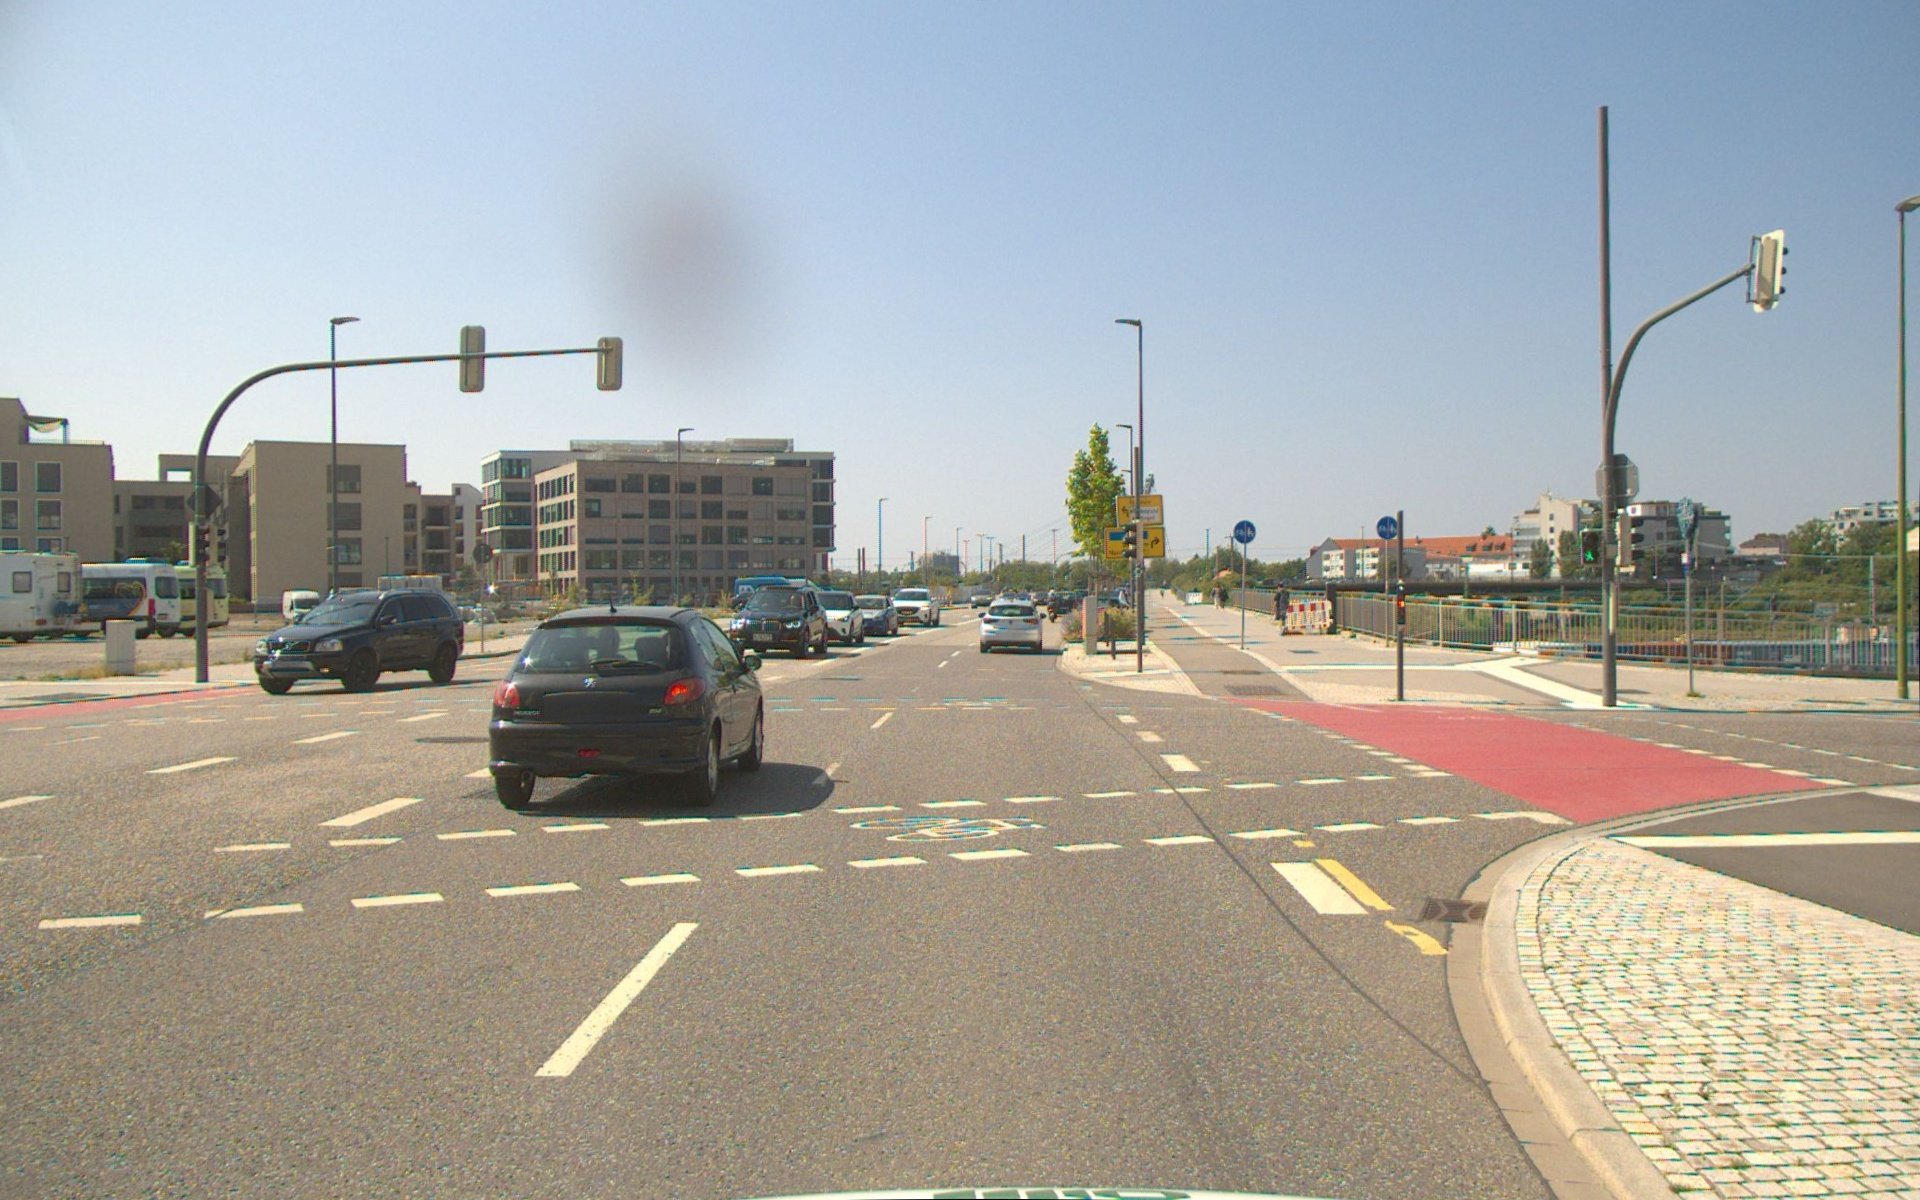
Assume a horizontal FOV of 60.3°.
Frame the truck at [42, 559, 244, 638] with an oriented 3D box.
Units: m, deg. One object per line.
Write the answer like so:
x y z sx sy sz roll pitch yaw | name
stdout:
-31.142 -0.070 63.170 6.495 2.875 2.604 1 0 5 | truck

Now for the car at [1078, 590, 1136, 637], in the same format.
5.178 0.440 58.202 1.951 1.545 4.003 0 1 6 | car

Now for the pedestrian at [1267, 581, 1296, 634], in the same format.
10.277 0.224 52.874 0.735 1.637 0.950 -3 0 5 | pedestrian

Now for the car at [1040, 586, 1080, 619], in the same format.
5.139 0.154 84.717 1.740 1.596 4.003 1 -1 7 | car

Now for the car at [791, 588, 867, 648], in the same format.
-4.026 0.519 51.459 1.741 1.711 4.101 -2 1 3 | car

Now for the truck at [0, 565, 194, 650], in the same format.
-31.144 0.275 59.719 5.711 2.874 2.572 1 -1 6 | truck

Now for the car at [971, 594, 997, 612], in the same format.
1.996 0.269 137.563 1.853 1.440 3.600 1 -1 6 | car

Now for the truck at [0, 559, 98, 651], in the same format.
-32.291 0.130 54.889 6.014 2.952 2.572 1 -1 6 | truck

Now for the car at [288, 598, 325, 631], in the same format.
-46.885 1.005 118.585 1.972 2.280 3.961 0 1 -29 | car

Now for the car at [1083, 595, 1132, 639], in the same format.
5.802 0.638 65.141 1.832 1.656 4.879 0 0 5 | car

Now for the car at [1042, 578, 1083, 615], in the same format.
5.252 -0.164 84.950 1.756 1.780 3.999 1 -1 -1 | car

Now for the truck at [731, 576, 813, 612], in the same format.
-14.256 -0.431 125.845 5.879 2.588 2.276 -1 0 3 | truck

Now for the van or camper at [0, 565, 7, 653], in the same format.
-32.195 0.272 50.607 4.796 2.708 2.261 0 0 5 | van or camper

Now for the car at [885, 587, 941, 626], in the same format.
-2.079 0.302 74.103 1.872 1.678 4.734 0 0 6 | car

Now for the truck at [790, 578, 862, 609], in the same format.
-10.739 -0.508 132.758 5.449 2.404 2.276 -1 0 4 | truck

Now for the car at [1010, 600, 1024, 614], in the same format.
6.502 0.807 187.406 1.546 1.590 3.674 1 -1 2 | car

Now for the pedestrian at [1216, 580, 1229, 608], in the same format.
16.005 -0.367 100.952 0.716 1.735 0.651 1 -1 6 | pedestrian

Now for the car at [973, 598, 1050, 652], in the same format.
1.505 0.694 47.304 1.740 1.467 4.003 0 0 8 | car

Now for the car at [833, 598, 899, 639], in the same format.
-3.387 0.645 60.563 1.748 1.446 4.285 0 0 6 | car

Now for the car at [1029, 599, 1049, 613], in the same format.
8.140 0.593 170.530 1.749 1.422 4.575 0 0 7 | car

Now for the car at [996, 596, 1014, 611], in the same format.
4.521 0.394 166.956 1.756 1.441 4.001 1 -1 2 | car

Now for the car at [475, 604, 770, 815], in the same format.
-2.526 0.777 13.209 1.586 1.441 3.726 0 -1 0 | car

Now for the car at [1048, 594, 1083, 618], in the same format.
6.227 0.379 97.971 1.599 1.333 3.997 1 -1 -3 | car

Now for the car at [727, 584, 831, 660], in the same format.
-4.642 0.519 43.027 1.899 1.820 4.658 1 1 3 | car
